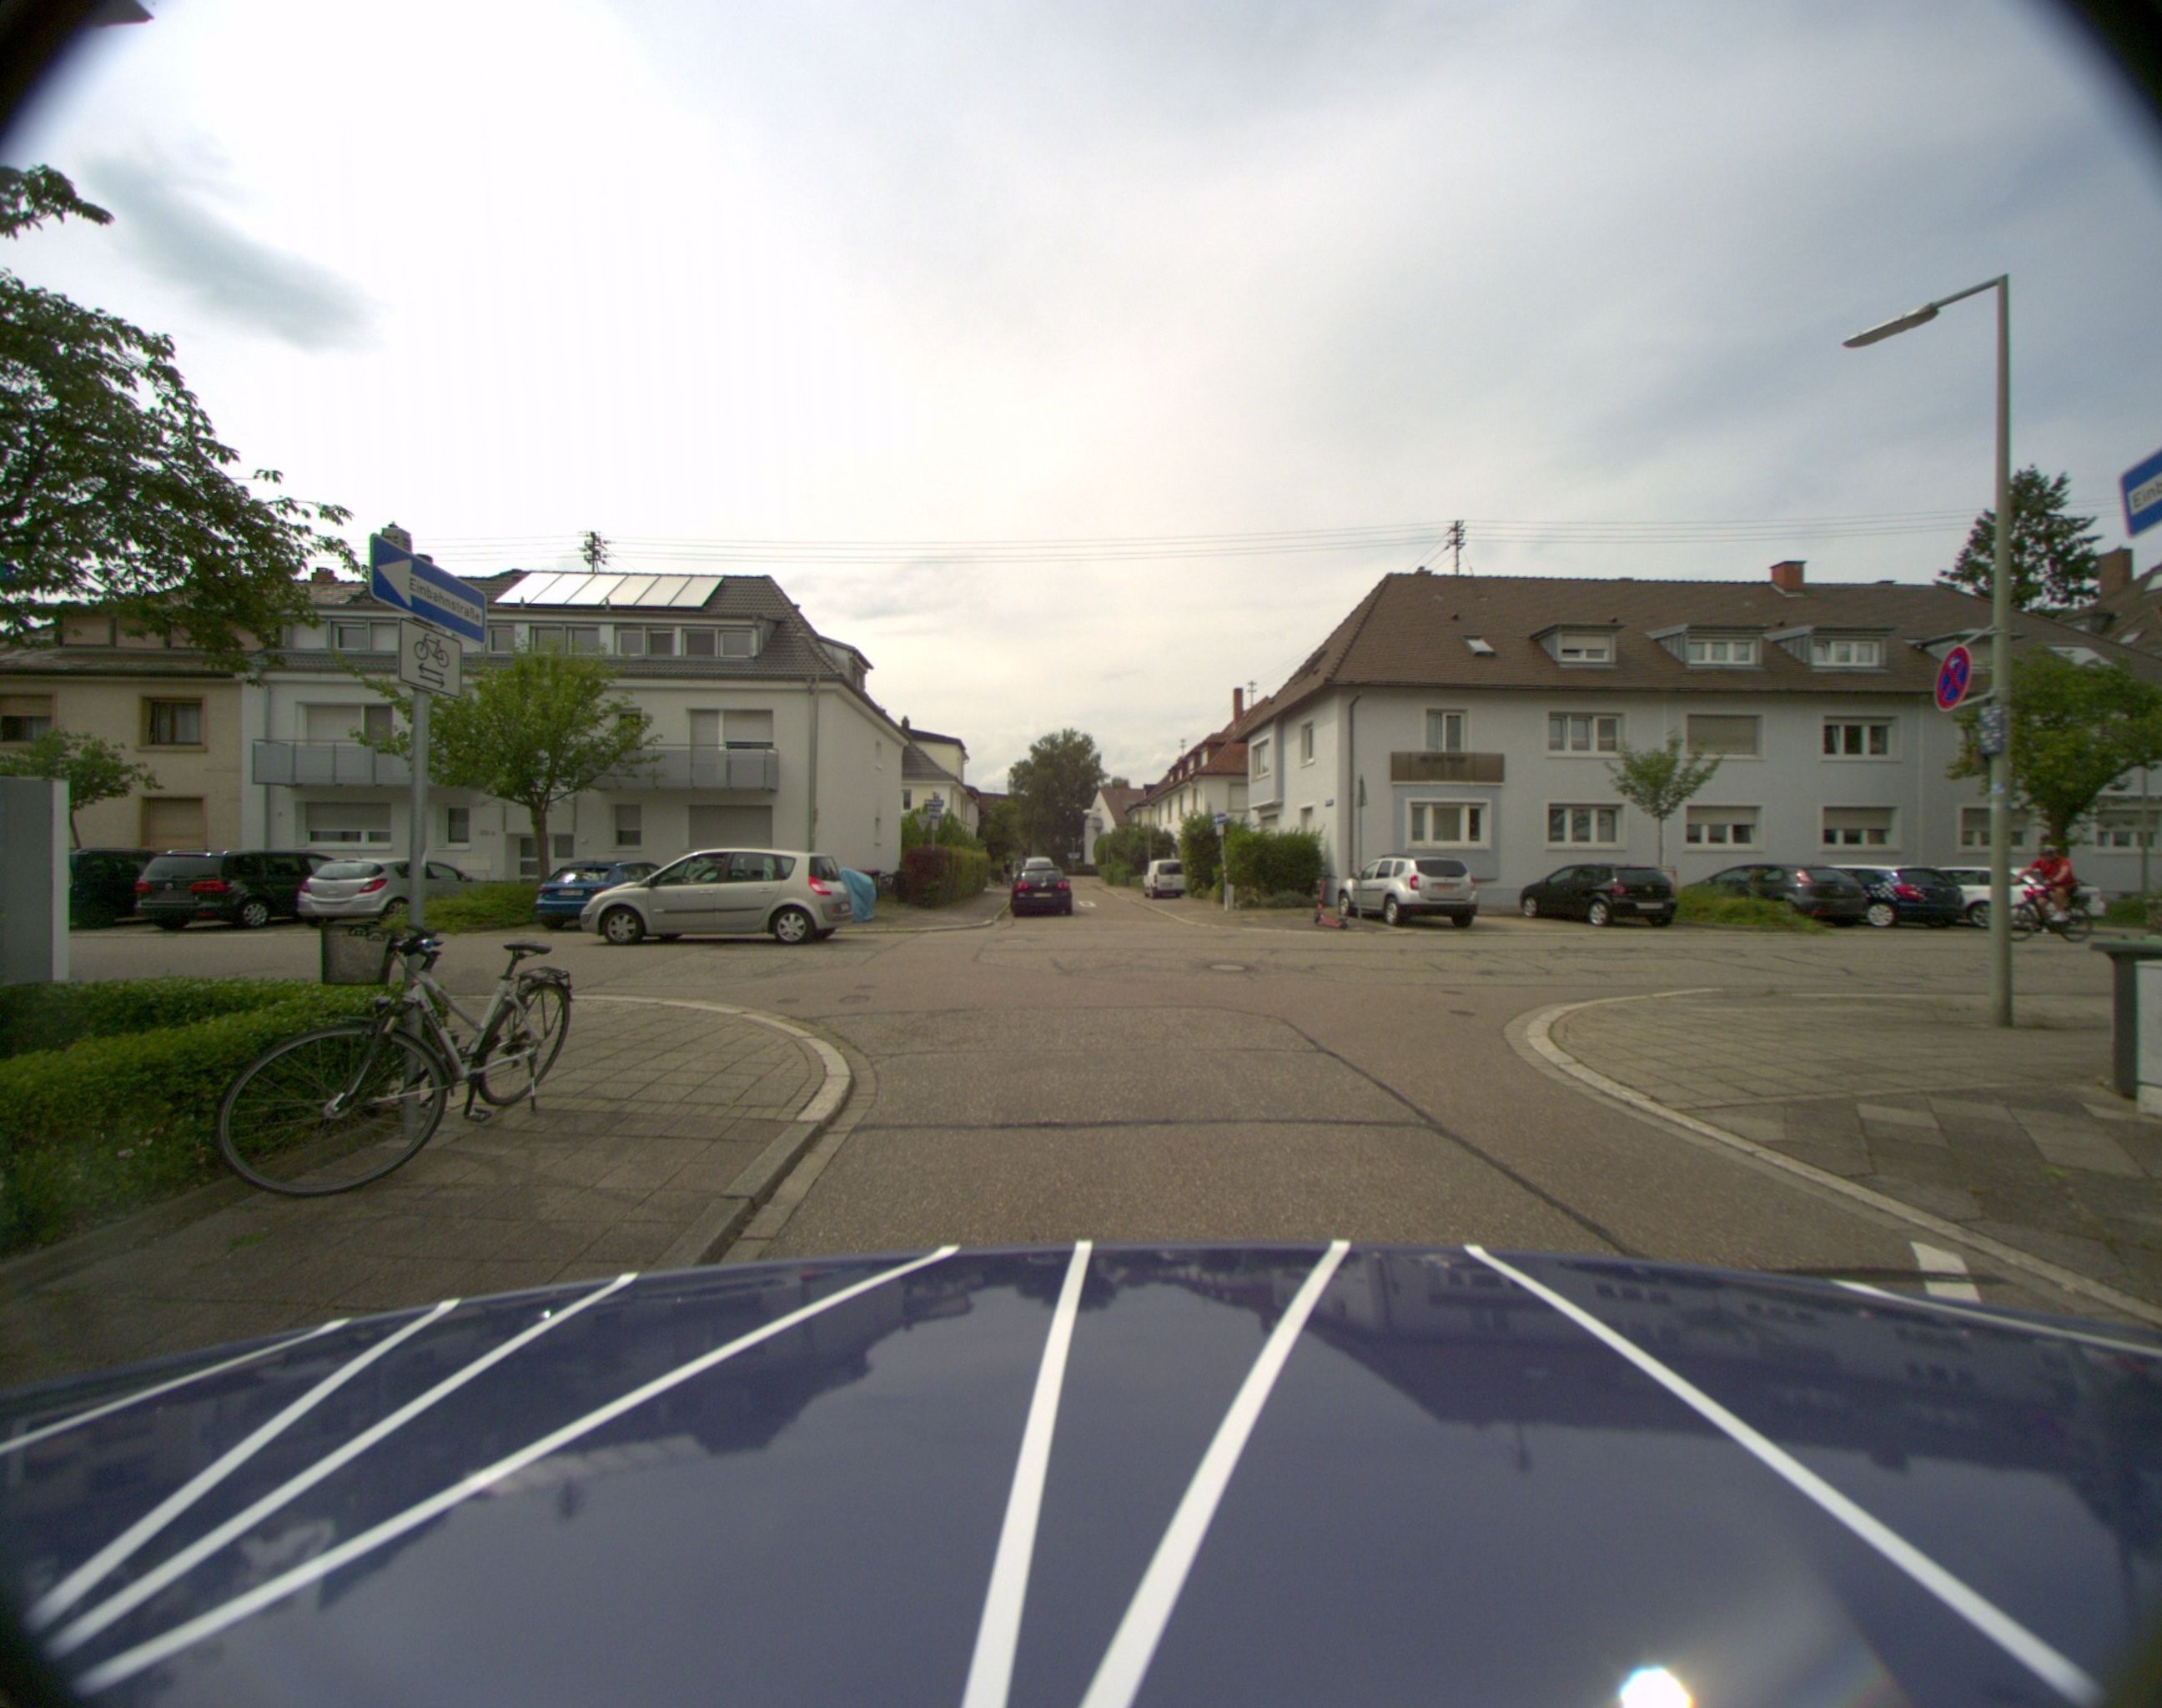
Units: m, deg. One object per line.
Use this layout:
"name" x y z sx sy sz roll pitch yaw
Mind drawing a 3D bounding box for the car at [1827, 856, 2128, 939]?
"car" 21.801 0.956 18.869 1.891 1.654 4.627 0 2 -1

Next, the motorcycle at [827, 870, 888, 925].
"motorcycle" -5.247 0.985 17.993 0.939 1.203 2.199 0 0 -4

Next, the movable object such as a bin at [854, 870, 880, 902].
"movable object such as a bin" -6.789 1.010 24.142 0.699 1.002 0.521 0 0 -5

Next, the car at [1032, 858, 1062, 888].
"car" -2.183 1.172 47.818 1.805 1.784 3.813 0 0 -4

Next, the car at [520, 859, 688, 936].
"car" -10.348 0.885 16.811 1.558 1.404 3.527 0 2 -2

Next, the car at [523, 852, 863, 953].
"car" -6.370 0.778 12.923 4.834 1.595 1.789 0 0 -3

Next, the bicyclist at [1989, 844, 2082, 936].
"bicyclist" 18.760 0.697 14.953 0.986 1.759 0.694 0 -1 -3

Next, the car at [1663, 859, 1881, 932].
"car" 17.139 0.957 19.150 1.711 1.499 3.998 0 2 -2

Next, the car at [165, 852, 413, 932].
"car" -17.952 0.788 17.521 1.772 1.556 3.758 0 2 -1

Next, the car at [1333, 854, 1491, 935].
"car" 7.741 0.876 18.219 1.867 1.624 3.934 0 2 -3

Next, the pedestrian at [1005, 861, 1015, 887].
"pedestrian" -4.814 1.339 51.401 0.560 1.708 0.614 0 0 -14

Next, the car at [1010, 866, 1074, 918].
"car" -1.281 1.095 23.281 1.663 1.435 3.812 0 0 -7

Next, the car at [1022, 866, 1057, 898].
"car" -2.144 1.383 38.564 1.663 1.508 3.813 0 0 -4

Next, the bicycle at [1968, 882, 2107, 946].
"bicycle" 18.791 1.166 14.949 1.936 1.220 0.694 0 -1 -3

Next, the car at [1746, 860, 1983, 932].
"car" 19.482 0.968 19.195 1.711 1.499 3.998 0 2 -2

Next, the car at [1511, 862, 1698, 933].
"car" 12.694 0.984 18.776 1.711 1.414 3.998 0 2 -2

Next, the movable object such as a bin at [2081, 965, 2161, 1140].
"movable object such as a bin" 6.155 1.115 4.246 0.476 0.902 0.487 0 2 -9

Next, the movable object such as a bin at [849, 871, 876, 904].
"movable object such as a bin" -6.767 1.047 23.540 0.699 1.002 0.521 0 0 -5

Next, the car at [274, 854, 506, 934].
"car" -15.472 0.819 17.355 1.721 1.510 3.998 0 2 -2

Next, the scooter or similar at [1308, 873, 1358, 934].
"scooter or similar" 5.566 1.073 16.834 0.422 1.236 1.240 0 2 -15

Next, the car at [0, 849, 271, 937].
"car" -20.868 0.742 16.699 1.866 1.609 3.998 0 2 -2

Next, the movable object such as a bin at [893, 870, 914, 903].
"movable object such as a bin" -5.514 1.006 23.622 0.548 1.002 0.612 0 0 -6

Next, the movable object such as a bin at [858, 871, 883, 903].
"movable object such as a bin" -6.831 1.069 24.686 0.699 1.002 0.521 0 0 -5

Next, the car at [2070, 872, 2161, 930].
"car" 29.777 1.300 20.306 1.773 1.446 3.633 0 2 -6

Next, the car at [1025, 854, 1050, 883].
"car" -3.026 0.983 52.466 1.663 1.892 3.813 0 0 -4

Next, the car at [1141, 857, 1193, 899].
"car" 4.004 1.080 35.834 1.704 1.795 3.813 -1 0 -4

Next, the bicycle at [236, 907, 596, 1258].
"bicycle" -3.030 0.925 3.694 0.435 1.172 1.637 0 2 -6
